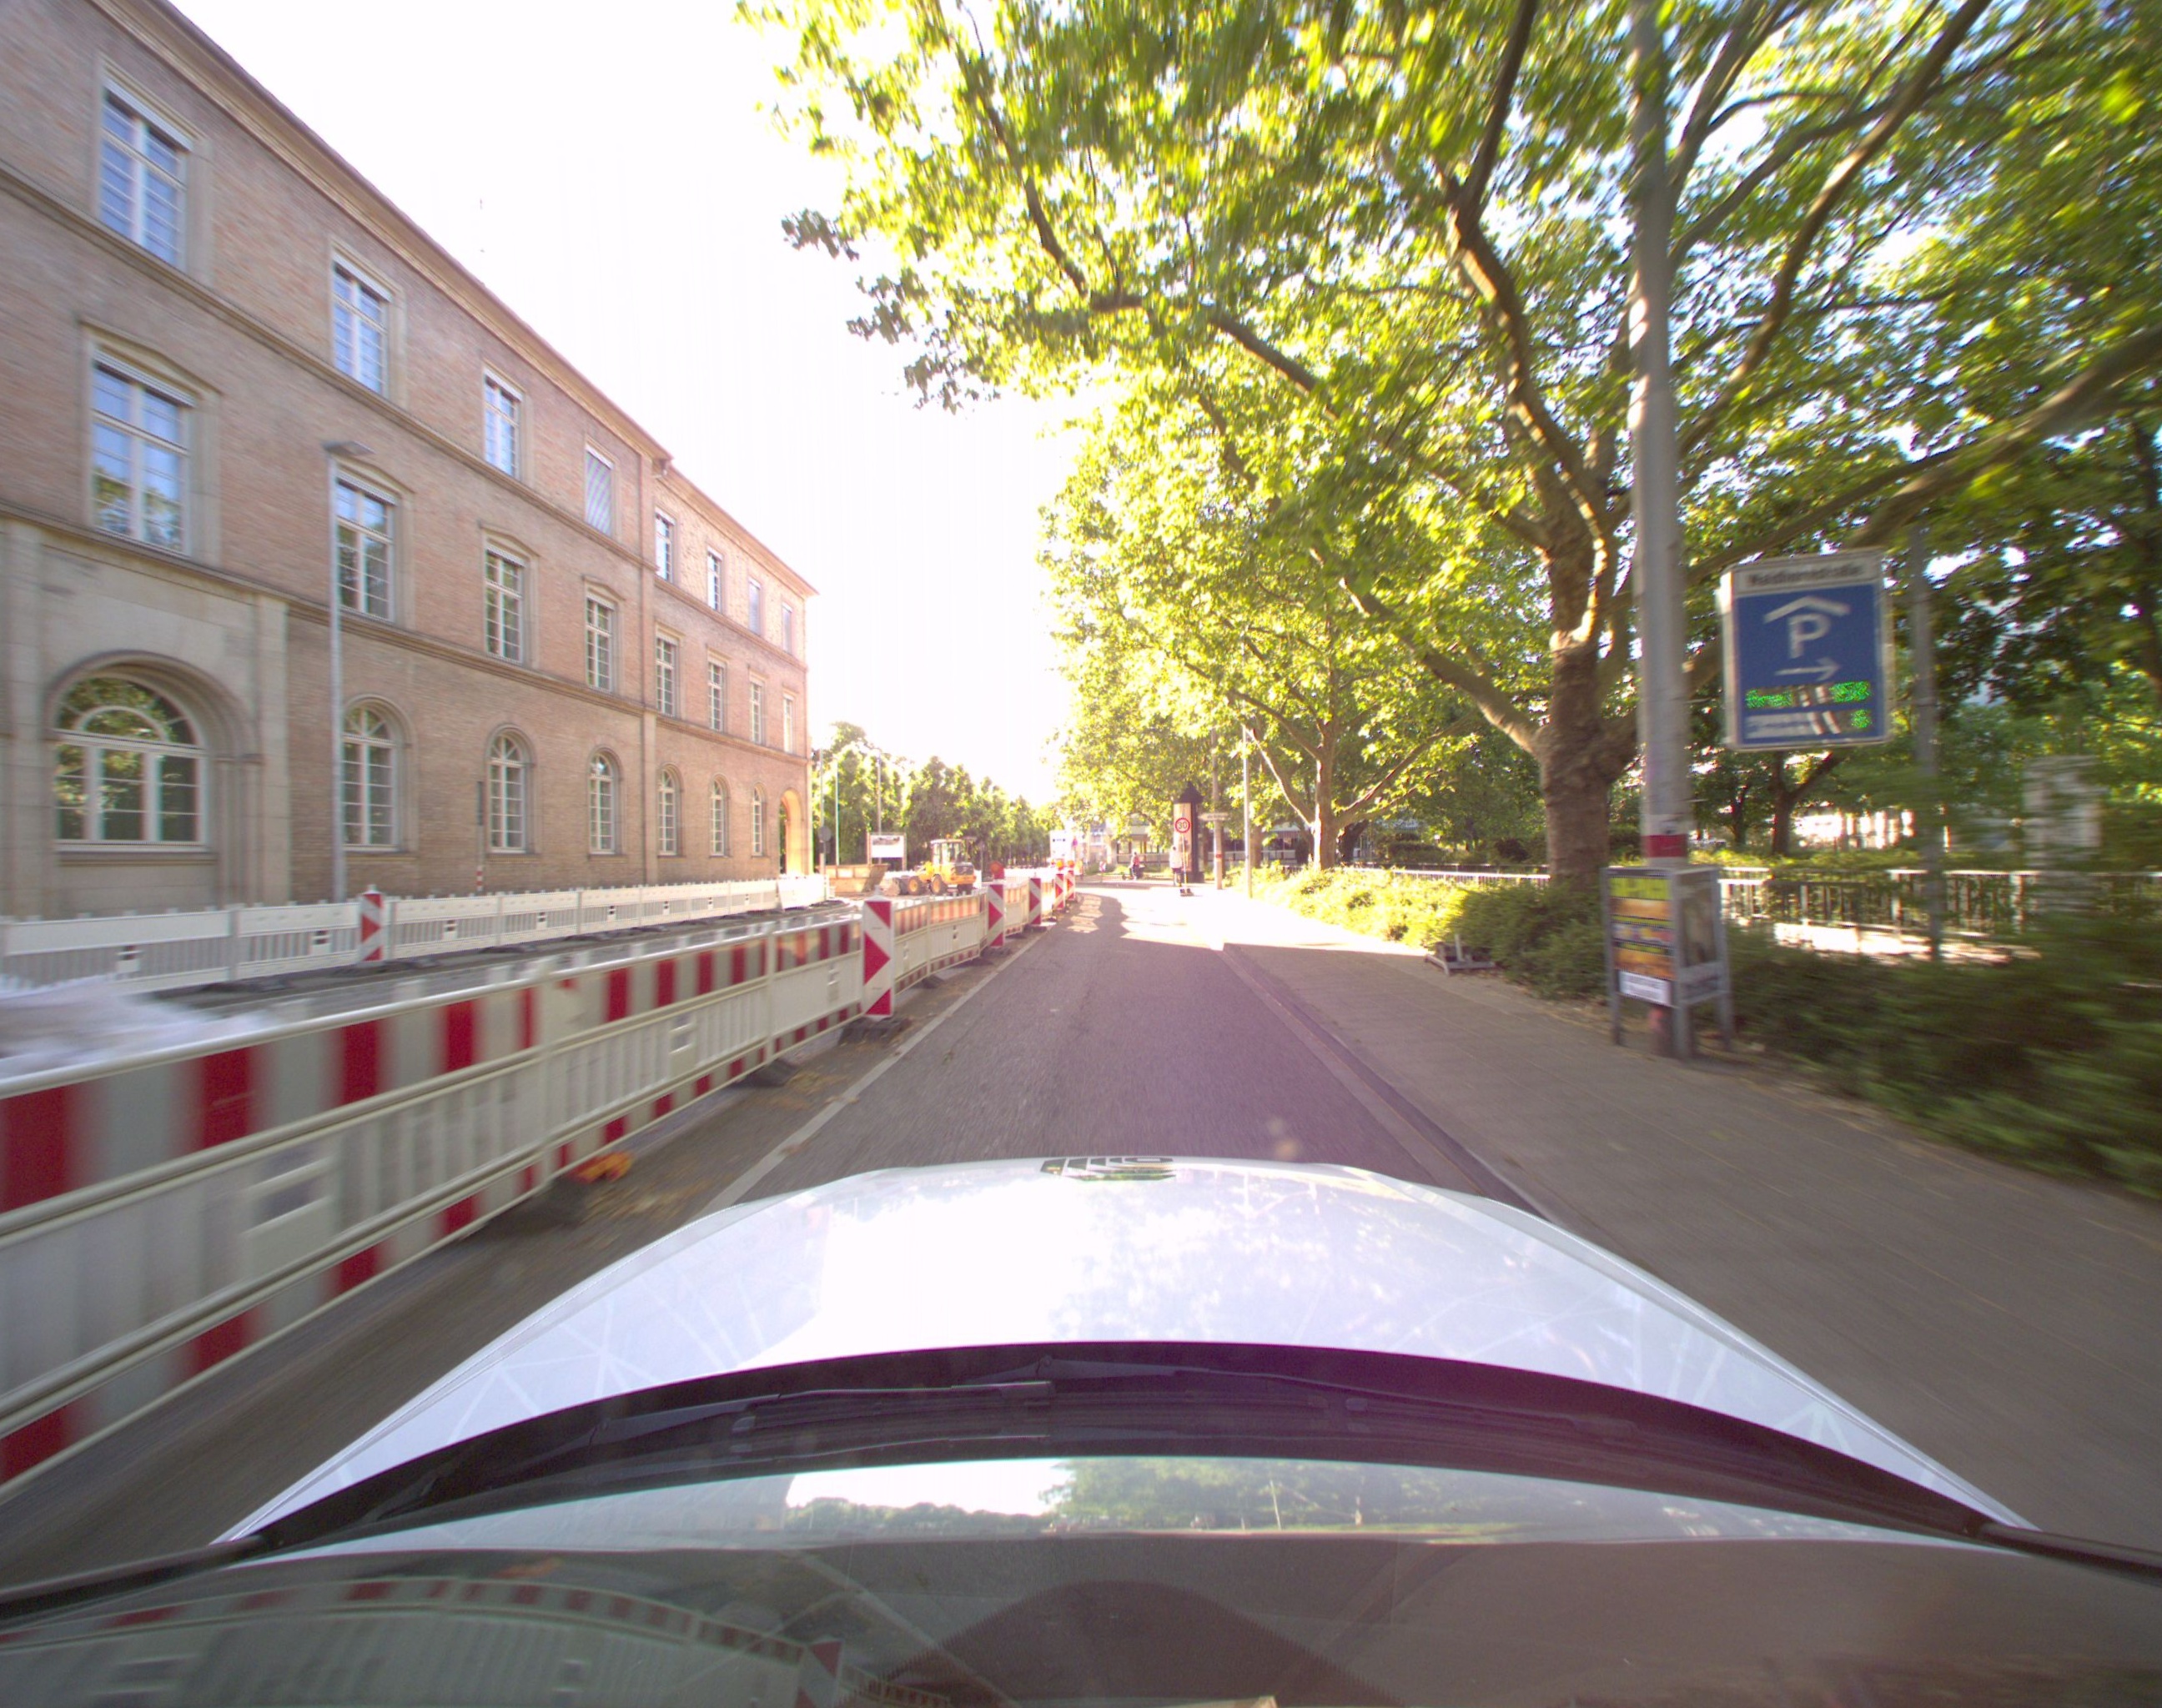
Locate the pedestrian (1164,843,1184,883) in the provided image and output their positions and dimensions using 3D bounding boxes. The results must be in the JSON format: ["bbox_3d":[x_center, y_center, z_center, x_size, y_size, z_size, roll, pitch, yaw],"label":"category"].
[{"bbox_3d":[4.290,0.406,37.635,0.743,1.813,1.133,0,0,-2],"label":"pedestrian"}]

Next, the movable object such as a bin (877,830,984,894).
[{"bbox_3d":[-7.817,0.442,41.886,2.582,3.031,5.858,-2,-1,-43],"label":"movable object such as a bin"}]

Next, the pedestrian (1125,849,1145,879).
[{"bbox_3d":[2.965,0.572,44.722,0.712,1.623,0.930,-1,-1,-29],"label":"pedestrian"}]

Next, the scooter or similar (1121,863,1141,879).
[{"bbox_3d":[3.045,1.065,49.842,1.145,0.914,0.419,-3,-2,-5],"label":"scooter or similar"}]
